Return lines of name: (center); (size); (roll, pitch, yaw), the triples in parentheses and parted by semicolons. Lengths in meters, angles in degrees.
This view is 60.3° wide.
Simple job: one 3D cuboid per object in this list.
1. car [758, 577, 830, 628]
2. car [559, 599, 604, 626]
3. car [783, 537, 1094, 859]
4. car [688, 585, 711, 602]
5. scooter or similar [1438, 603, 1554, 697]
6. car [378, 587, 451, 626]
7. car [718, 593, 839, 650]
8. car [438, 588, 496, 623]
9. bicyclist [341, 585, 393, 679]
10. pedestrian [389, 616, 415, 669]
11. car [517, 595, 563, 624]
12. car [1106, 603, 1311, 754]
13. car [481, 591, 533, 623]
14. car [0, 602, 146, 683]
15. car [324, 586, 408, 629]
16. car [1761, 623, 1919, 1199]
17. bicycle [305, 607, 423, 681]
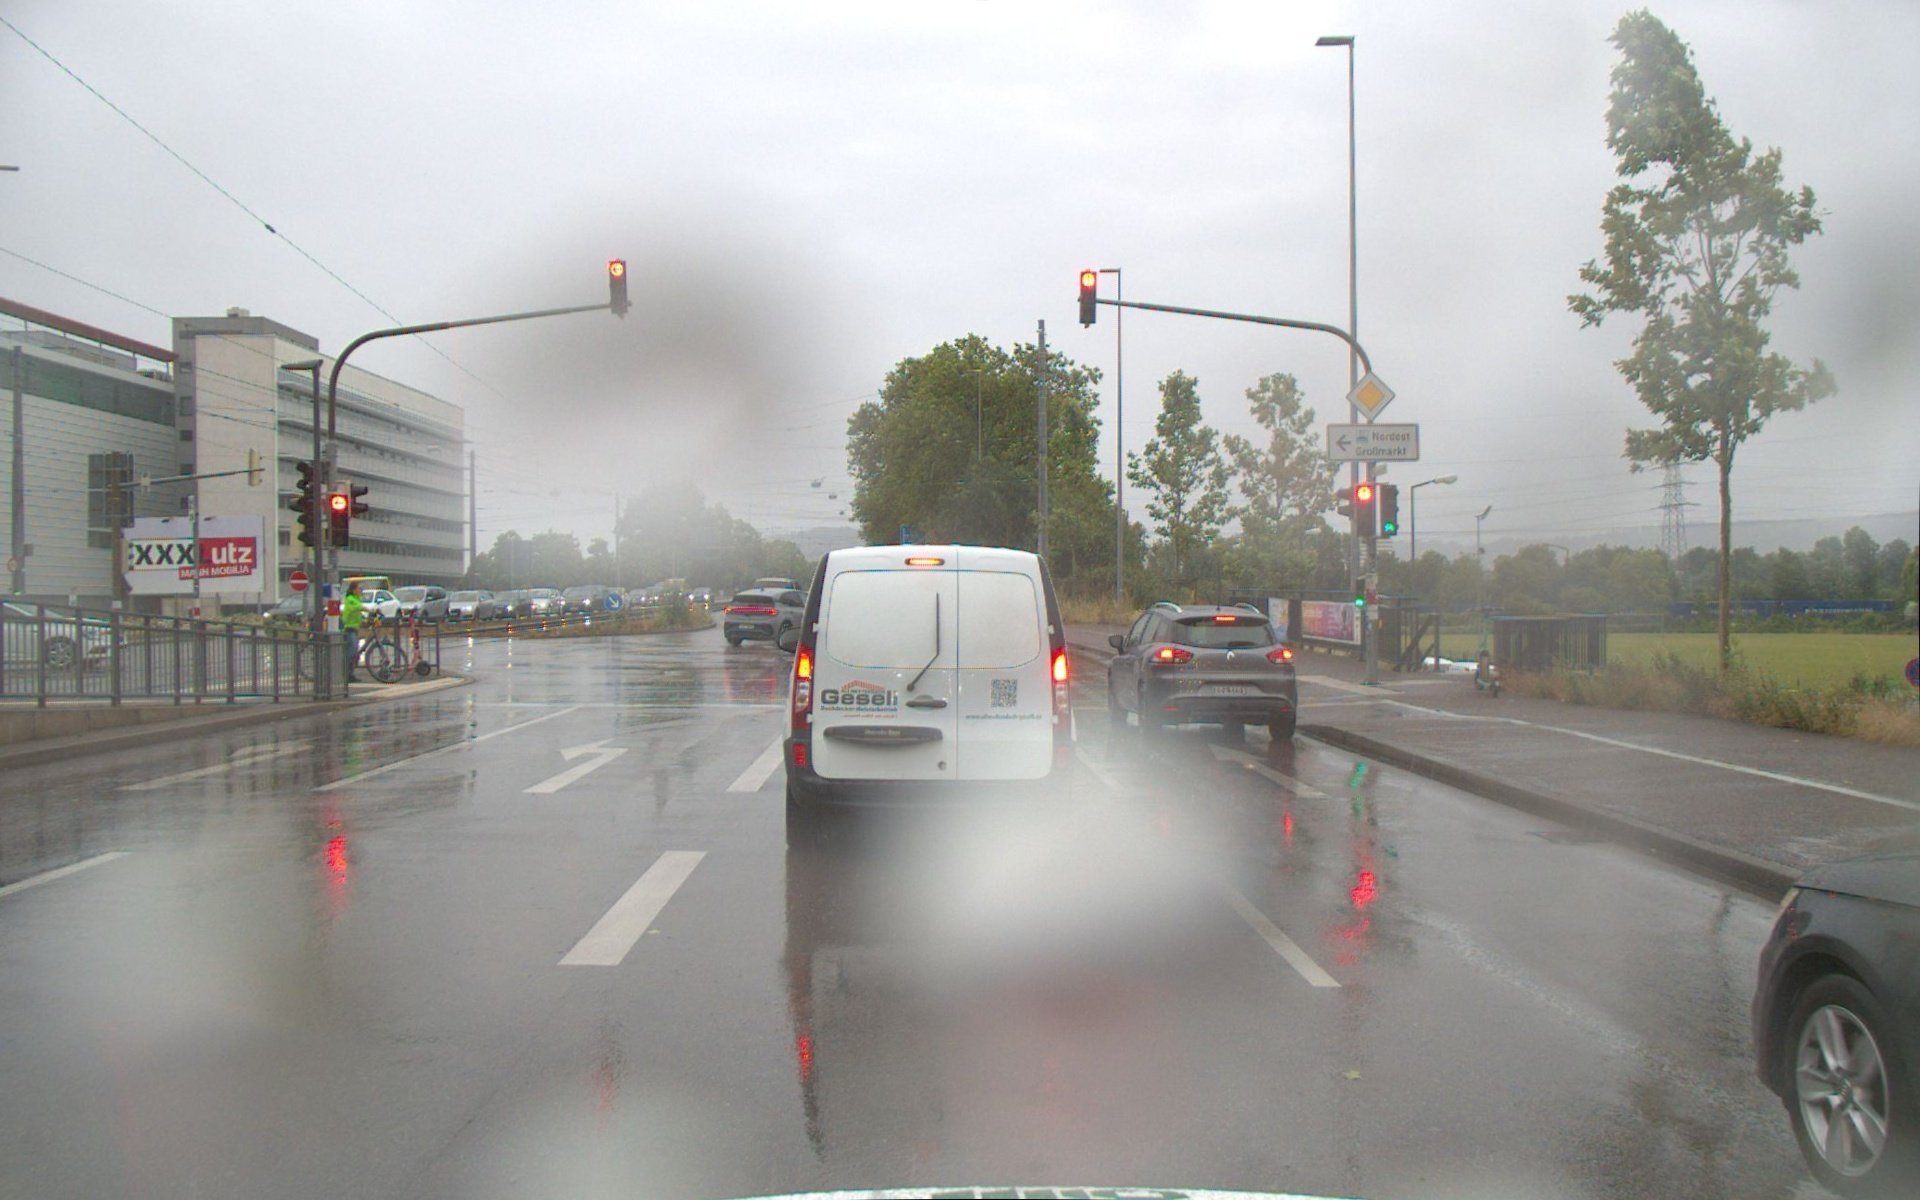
car: (-5.981, 0.112, 60.083); (1.907, 1.691, 4.465); (2, -1, 3)
car: (-21.574, 0.745, 94.458); (1.676, 1.451, 3.808); (2, -1, -1)
car: (-0.265, 0.524, 11.299); (1.719, 1.780, 4.165); (1, 1, -4)
car: (-23.178, -0.575, 147.260); (1.528, 1.451, 3.567); (2, -1, -1)
scooter or similar: (7.573, 0.665, 23.540); (0.676, 1.232, 3.020); (-1, 0, 0)
car: (-21.841, 0.266, 66.341); (1.676, 1.451, 3.808); (2, -1, -1)
car: (-5.001, 0.623, 46.154); (1.676, 1.476, 4.200); (1, -1, 19)
car: (-21.898, 0.276, 73.575); (1.528, 1.451, 3.567); (2, -1, -1)
bicyclist: (-9.721, 0.523, 27.112); (0.600, 1.517, 0.591); (2, -1, -41)
pedestrian: (-9.762, 0.745, 28.962); (0.309, 0.913, 0.380); (2, 0, -3)
car: (-22.103, 0.514, 87.139); (1.528, 1.451, 3.567); (2, -1, -1)
car: (2.758, 0.822, 19.149); (1.650, 1.534, 3.919); (1, 0, -2)
car: (-22.060, 0.370, 80.653); (1.528, 1.451, 3.567); (2, -1, -1)
car: (-18.995, 0.818, 33.369); (4.182, 1.528, 1.817); (2, -1, -11)
car: (-21.662, 0.305, 60.438); (1.676, 1.451, 3.808); (2, -1, -1)
car: (3.117, 0.739, 2.894); (1.565, 1.390, 3.629); (-1, -1, -2)
bicycle: (-9.749, 0.716, 27.093); (1.745, 1.157, 0.512); (2, -1, -43)
